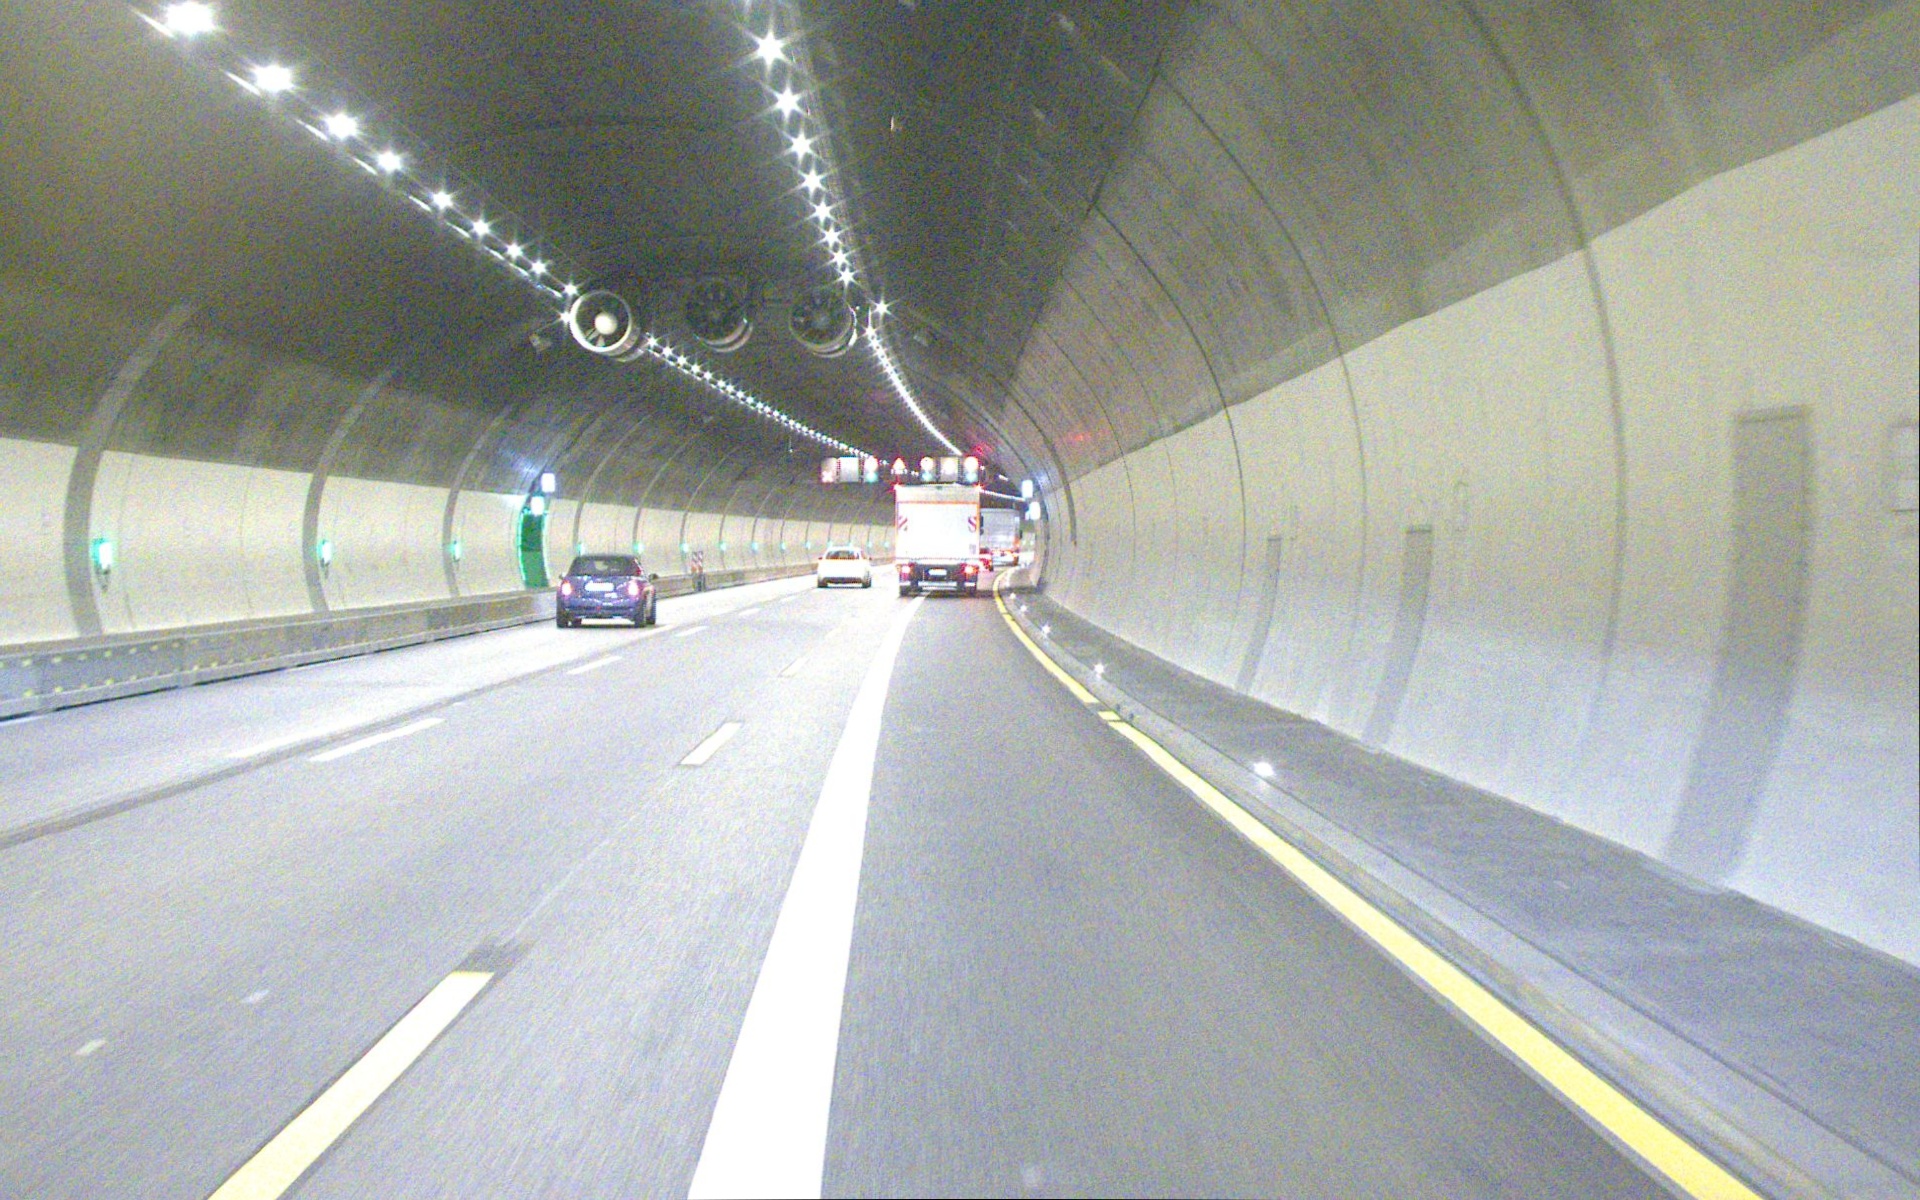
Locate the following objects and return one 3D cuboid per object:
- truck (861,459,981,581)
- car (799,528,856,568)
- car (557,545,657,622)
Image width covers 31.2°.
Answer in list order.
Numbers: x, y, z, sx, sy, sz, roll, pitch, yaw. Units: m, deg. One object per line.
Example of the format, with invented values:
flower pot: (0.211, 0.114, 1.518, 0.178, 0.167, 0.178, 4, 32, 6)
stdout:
truck: (-1.248, -2.538, 108.700, 3.592, 3.638, 10.723, 0, 1, -1)
car: (-4.771, -1.896, 124.303, 1.993, 1.408, 4.743, 0, 1, -1)
car: (-6.799, -0.342, 66.500, 1.689, 1.412, 3.923, 0, 1, -3)
